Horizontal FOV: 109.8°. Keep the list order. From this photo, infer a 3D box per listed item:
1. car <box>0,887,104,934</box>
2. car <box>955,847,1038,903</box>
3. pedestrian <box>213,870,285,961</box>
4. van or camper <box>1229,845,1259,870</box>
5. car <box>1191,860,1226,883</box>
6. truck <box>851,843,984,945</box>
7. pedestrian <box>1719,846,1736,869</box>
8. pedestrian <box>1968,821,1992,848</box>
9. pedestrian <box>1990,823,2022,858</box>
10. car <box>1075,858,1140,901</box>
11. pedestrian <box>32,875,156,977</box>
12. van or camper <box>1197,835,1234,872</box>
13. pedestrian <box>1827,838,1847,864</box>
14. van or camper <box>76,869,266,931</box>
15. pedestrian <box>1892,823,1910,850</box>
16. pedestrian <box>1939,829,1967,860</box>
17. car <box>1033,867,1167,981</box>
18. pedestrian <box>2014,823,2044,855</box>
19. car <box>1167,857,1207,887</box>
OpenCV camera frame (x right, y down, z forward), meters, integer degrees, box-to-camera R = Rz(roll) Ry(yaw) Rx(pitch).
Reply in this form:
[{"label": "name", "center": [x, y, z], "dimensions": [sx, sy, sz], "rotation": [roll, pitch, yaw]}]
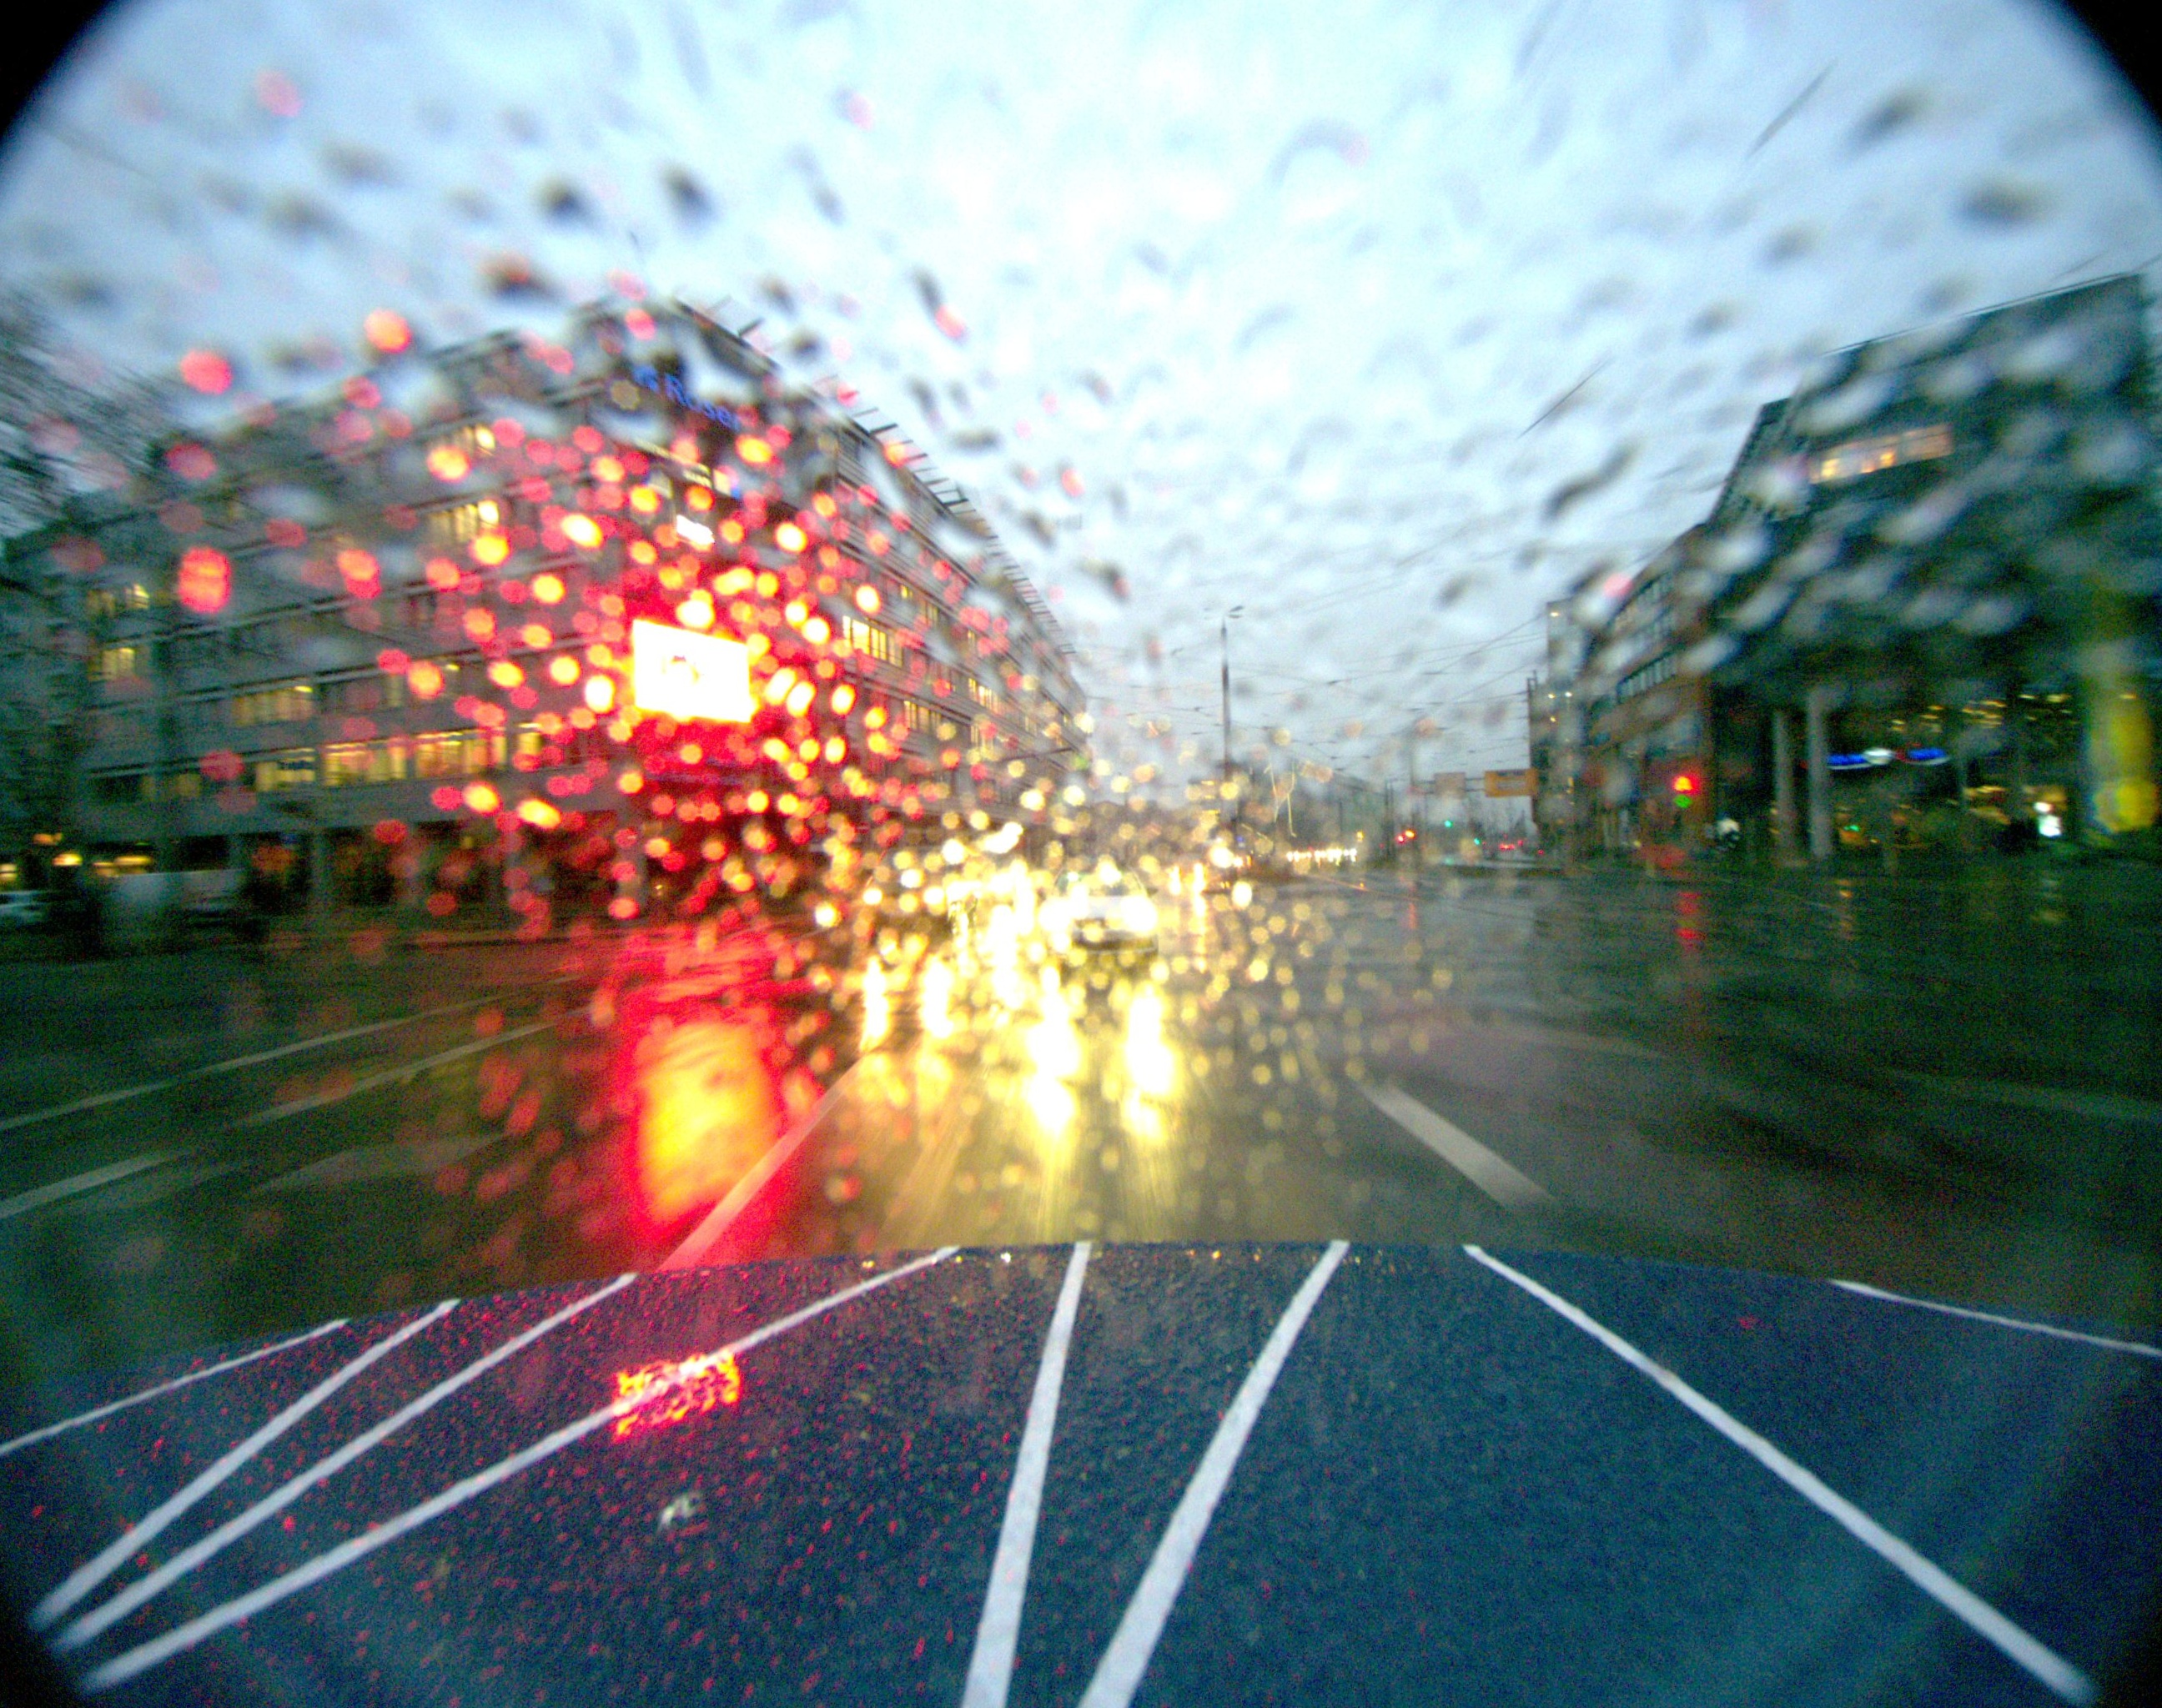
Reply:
[{"label": "car", "center": [-37.822, 2.023, 27.183], "dimensions": [3.839, 1.519, 1.644], "rotation": [-2, 0, 5]}, {"label": "car", "center": [-3.033, 0.739, 28.297], "dimensions": [1.908, 1.808, 4.692], "rotation": [-3, -1, 7]}, {"label": "pedestrian", "center": [-17.155, 1.233, 15.689], "dimensions": [0.801, 1.800, 0.649], "rotation": [-2, 0, -30]}, {"label": "van or camper", "center": [16.488, 0.295, 76.657], "dimensions": [2.183, 2.338, 5.657], "rotation": [-3, -1, 18]}, {"label": "car", "center": [8.408, 1.096, 49.876], "dimensions": [1.823, 1.324, 4.230], "rotation": [-3, -1, 15]}, {"label": "truck", "center": [-3.521, 0.820, 17.315], "dimensions": [1.909, 1.905, 4.617], "rotation": [-3, -1, 0]}, {"label": "pedestrian", "center": [35.735, 0.174, 42.008], "dimensions": [0.445, 1.257, 0.496], "rotation": [-3, 0, 10]}, {"label": "pedestrian", "center": [51.383, -1.115, 43.432], "dimensions": [0.651, 1.494, 0.695], "rotation": [-1, 0, 23]}, {"label": "pedestrian", "center": [49.649, -0.740, 40.793], "dimensions": [0.773, 1.835, 0.924], "rotation": [-1, 0, 25]}, {"label": "car", "center": [1.070, 0.905, 28.411], "dimensions": [1.772, 1.449, 4.225], "rotation": [0, 0, 11]}, {"label": "pedestrian", "center": [-18.393, 1.312, 14.189], "dimensions": [0.776, 1.776, 1.153], "rotation": [-1, 0, 12]}, {"label": "van or camper", "center": [10.238, -0.055, 57.622], "dimensions": [2.059, 2.533, 5.891], "rotation": [-3, 0, 15]}, {"label": "pedestrian", "center": [45.838, -0.182, 46.065], "dimensions": [0.651, 1.494, 0.695], "rotation": [-1, 0, 23]}, {"label": "van or camper", "center": [-31.911, 1.578, 26.728], "dimensions": [4.742, 1.917, 1.842], "rotation": [-2, 0, 5]}, {"label": "pedestrian", "center": [53.139, -1.108, 49.245], "dimensions": [0.692, 1.698, 0.928], "rotation": [-1, 0, 42]}, {"label": "pedestrian", "center": [47.470, -0.527, 41.371], "dimensions": [0.740, 1.646, 0.695], "rotation": [-1, 0, 23]}, {"label": "car", "center": [0.371, 1.000, 12.594], "dimensions": [1.773, 1.449, 4.223], "rotation": [-3, -1, 3]}, {"label": "pedestrian", "center": [50.500, -0.796, 40.482], "dimensions": [0.726, 1.698, 0.695], "rotation": [-2, 0, 23]}, {"label": "car", "center": [5.976, 0.981, 42.467], "dimensions": [1.682, 1.563, 3.765], "rotation": [-2, 0, 15]}]
